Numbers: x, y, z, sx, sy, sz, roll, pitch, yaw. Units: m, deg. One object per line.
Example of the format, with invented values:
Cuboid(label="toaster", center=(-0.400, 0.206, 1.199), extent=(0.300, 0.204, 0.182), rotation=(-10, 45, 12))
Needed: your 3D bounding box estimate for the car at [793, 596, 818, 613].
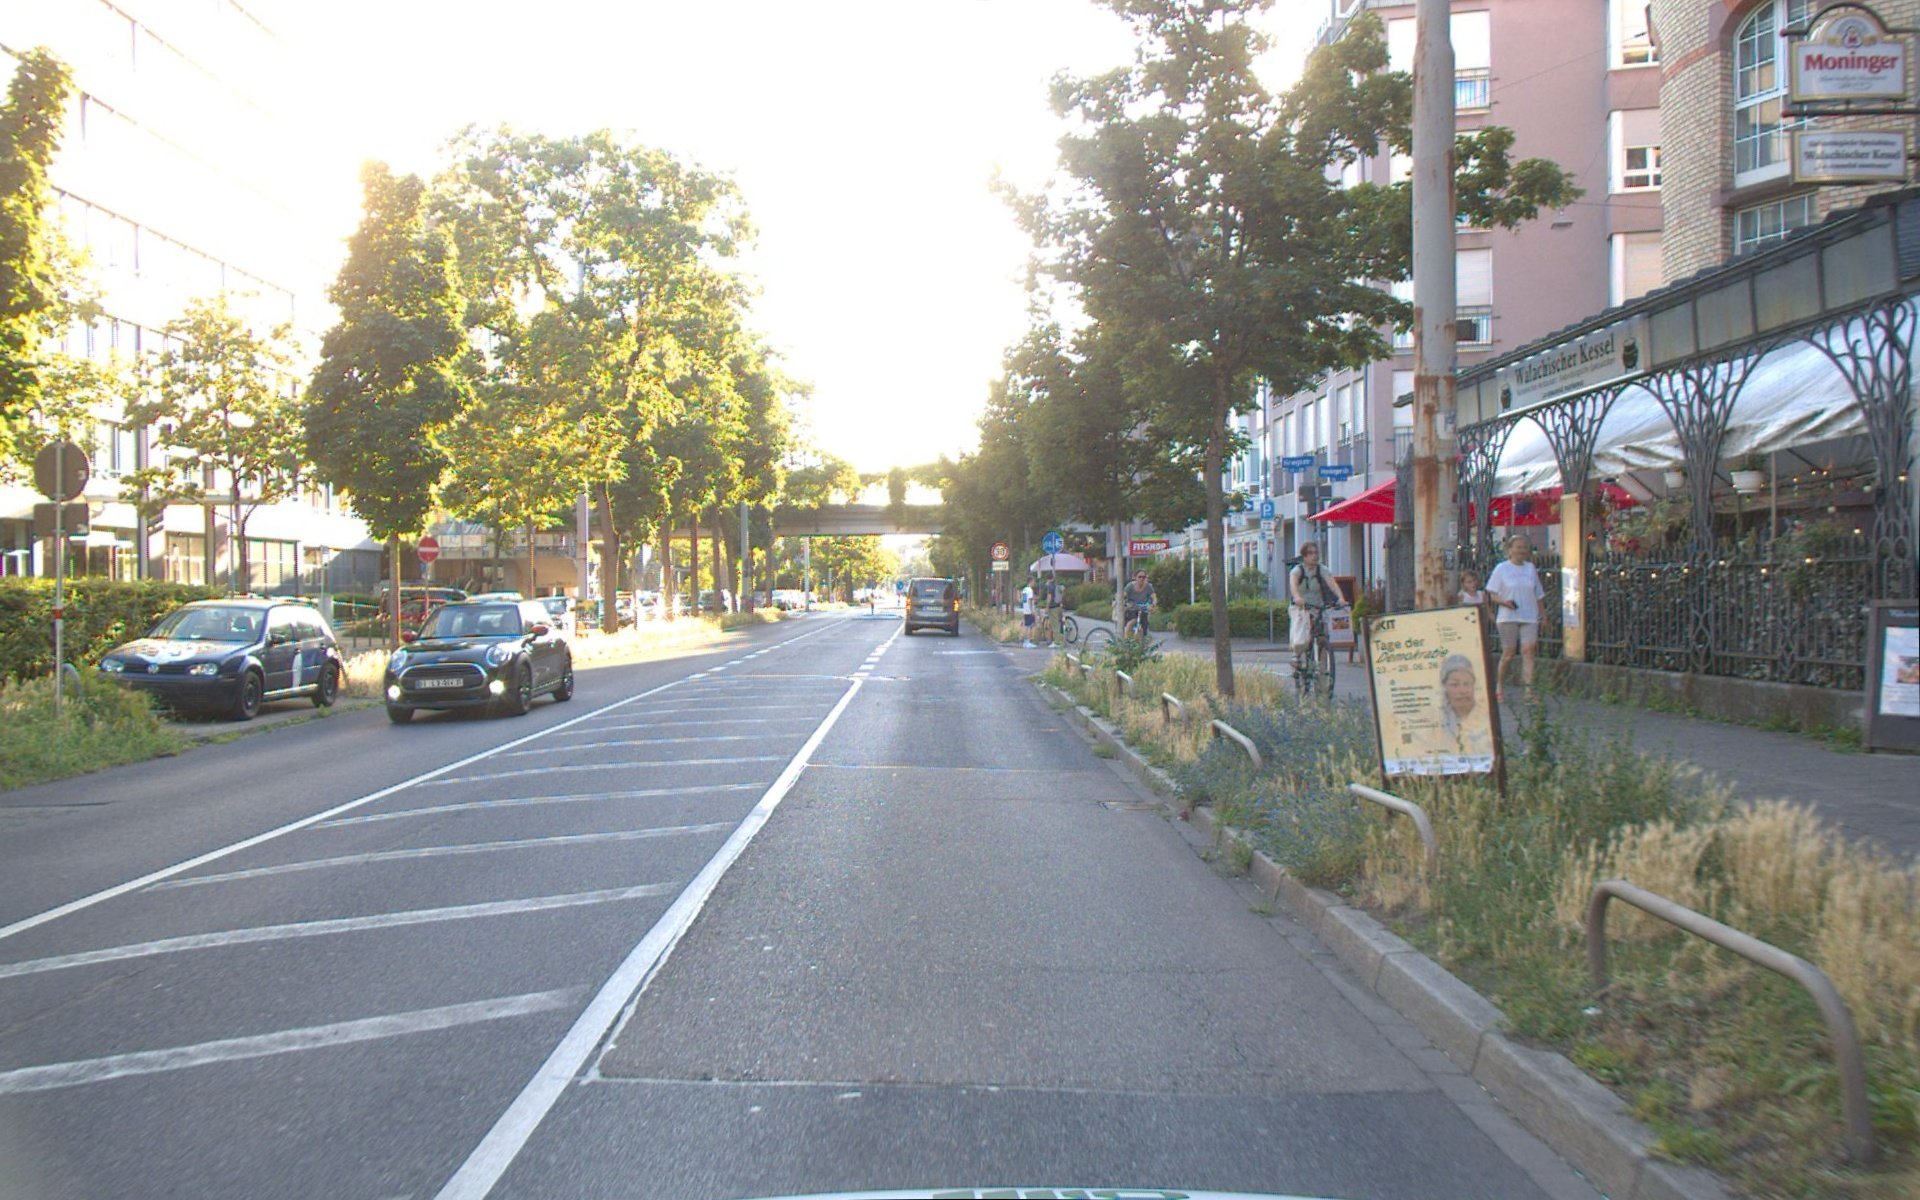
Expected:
Cuboid(label="car", center=(-14.211, 0.409, 152.494), extent=(1.953, 1.439, 4.236), rotation=(1, 0, -1))

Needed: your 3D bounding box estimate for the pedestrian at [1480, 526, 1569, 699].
Cuboid(label="pedestrian", center=(5.578, 0.120, 16.379), extent=(0.631, 1.661, 0.656), rotation=(1, 0, -1))

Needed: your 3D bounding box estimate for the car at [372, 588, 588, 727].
Cuboid(label="car", center=(-6.124, 0.668, 21.569), extent=(1.645, 1.556, 3.999), rotation=(-3, 0, -1))

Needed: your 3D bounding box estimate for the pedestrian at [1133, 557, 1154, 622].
Cuboid(label="pedestrian", center=(7.343, -0.421, 66.038), extent=(0.701, 2.583, 0.824), rotation=(1, 0, -1))

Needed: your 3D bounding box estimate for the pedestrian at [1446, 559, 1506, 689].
Cuboid(label="pedestrian", center=(5.550, 0.253, 17.807), extent=(0.457, 1.374, 0.530), rotation=(1, 0, -1))

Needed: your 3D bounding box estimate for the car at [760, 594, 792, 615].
Cuboid(label="car", center=(-13.383, 0.329, 120.424), extent=(1.953, 1.439, 4.236), rotation=(1, 0, -1))

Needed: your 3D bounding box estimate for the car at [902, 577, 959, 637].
Cuboid(label="car", center=(-0.981, 0.208, 56.926), extent=(1.849, 1.958, 3.839), rotation=(-1, 1, 0))

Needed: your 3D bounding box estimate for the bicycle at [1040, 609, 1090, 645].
Cuboid(label="bicycle", center=(2.766, 0.706, 43.786), extent=(0.580, 0.913, 1.975), rotation=(1, 0, -20))

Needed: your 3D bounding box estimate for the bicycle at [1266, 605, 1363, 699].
Cuboid(label="bicycle", center=(3.744, 0.529, 17.590), extent=(0.567, 0.913, 1.987), rotation=(1, 0, -1))

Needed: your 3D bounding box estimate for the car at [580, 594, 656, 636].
Cuboid(label="car", center=(-12.412, 0.520, 60.239), extent=(1.953, 1.439, 4.236), rotation=(1, 0, -1))

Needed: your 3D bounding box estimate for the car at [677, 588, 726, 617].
Cuboid(label="car", center=(-13.534, 0.098, 86.883), extent=(1.953, 1.439, 4.236), rotation=(1, 0, -1))

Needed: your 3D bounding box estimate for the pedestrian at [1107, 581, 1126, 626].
Cuboid(label="pedestrian", center=(6.462, 0.153, 68.286), extent=(0.701, 1.849, 0.614), rotation=(1, 0, -1))

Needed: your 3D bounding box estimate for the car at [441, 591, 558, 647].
Cuboid(label="car", center=(-11.877, 0.463, 42.914), extent=(1.953, 1.333, 4.065), rotation=(1, 0, -1))

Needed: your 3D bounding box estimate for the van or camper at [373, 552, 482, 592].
Cuboid(label="van or camper", center=(-35.260, -1.838, 109.682), extent=(6.432, 2.566, 2.448), rotation=(1, 0, -3))

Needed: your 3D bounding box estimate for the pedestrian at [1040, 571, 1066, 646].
Cuboid(label="pedestrian", center=(2.411, 0.220, 42.937), extent=(0.496, 1.922, 0.543), rotation=(1, 0, -16))

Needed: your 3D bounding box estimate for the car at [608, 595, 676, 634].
Cuboid(label="car", center=(-12.662, 0.564, 66.051), extent=(1.953, 1.439, 4.236), rotation=(1, 0, -1))

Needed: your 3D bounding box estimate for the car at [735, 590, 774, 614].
Cuboid(label="car", center=(-12.646, 0.108, 102.000), extent=(1.953, 1.439, 4.236), rotation=(1, 0, -1))

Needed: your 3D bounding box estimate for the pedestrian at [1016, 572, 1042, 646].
Cuboid(label="pedestrian", center=(1.810, 0.234, 43.364), extent=(0.496, 1.922, 0.543), rotation=(1, 0, -16))

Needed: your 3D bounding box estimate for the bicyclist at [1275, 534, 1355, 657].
Cuboid(label="bicyclist", center=(3.734, -0.050, 17.451), extent=(0.573, 1.258, 1.112), rotation=(1, 0, -1))

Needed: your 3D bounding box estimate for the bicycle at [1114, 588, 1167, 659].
Cuboid(label="bicycle", center=(3.284, 0.415, 30.280), extent=(0.536, 1.248, 1.984), rotation=(1, 0, -6))

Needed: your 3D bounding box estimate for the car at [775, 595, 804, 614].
Cuboid(label="car", center=(-13.862, 0.365, 134.571), extent=(1.953, 1.439, 4.236), rotation=(1, 0, -1))

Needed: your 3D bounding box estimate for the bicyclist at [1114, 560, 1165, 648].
Cuboid(label="bicyclist", center=(3.279, 0.072, 30.281), extent=(0.737, 1.585, 0.937), rotation=(1, 0, -6))

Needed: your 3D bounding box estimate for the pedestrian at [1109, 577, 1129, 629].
Cuboid(label="pedestrian", center=(6.493, 0.116, 67.480), extent=(0.701, 2.077, 0.614), rotation=(1, 0, -1))

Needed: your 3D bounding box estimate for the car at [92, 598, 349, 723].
Cuboid(label="car", center=(-9.353, 0.707, 21.268), extent=(1.605, 1.410, 3.998), rotation=(1, 0, -2))

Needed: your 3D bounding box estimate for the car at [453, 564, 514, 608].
Cuboid(label="car", center=(-26.497, -0.755, 92.115), extent=(1.953, 2.348, 5.244), rotation=(1, 0, -1))

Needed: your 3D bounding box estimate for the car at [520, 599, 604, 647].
Cuboid(label="car", center=(-12.016, 0.669, 50.171), extent=(1.637, 1.337, 3.964), rotation=(1, 0, -1))

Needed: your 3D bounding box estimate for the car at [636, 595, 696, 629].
Cuboid(label="car", center=(-12.903, 0.510, 72.859), extent=(1.953, 1.439, 4.236), rotation=(1, 0, -1))
